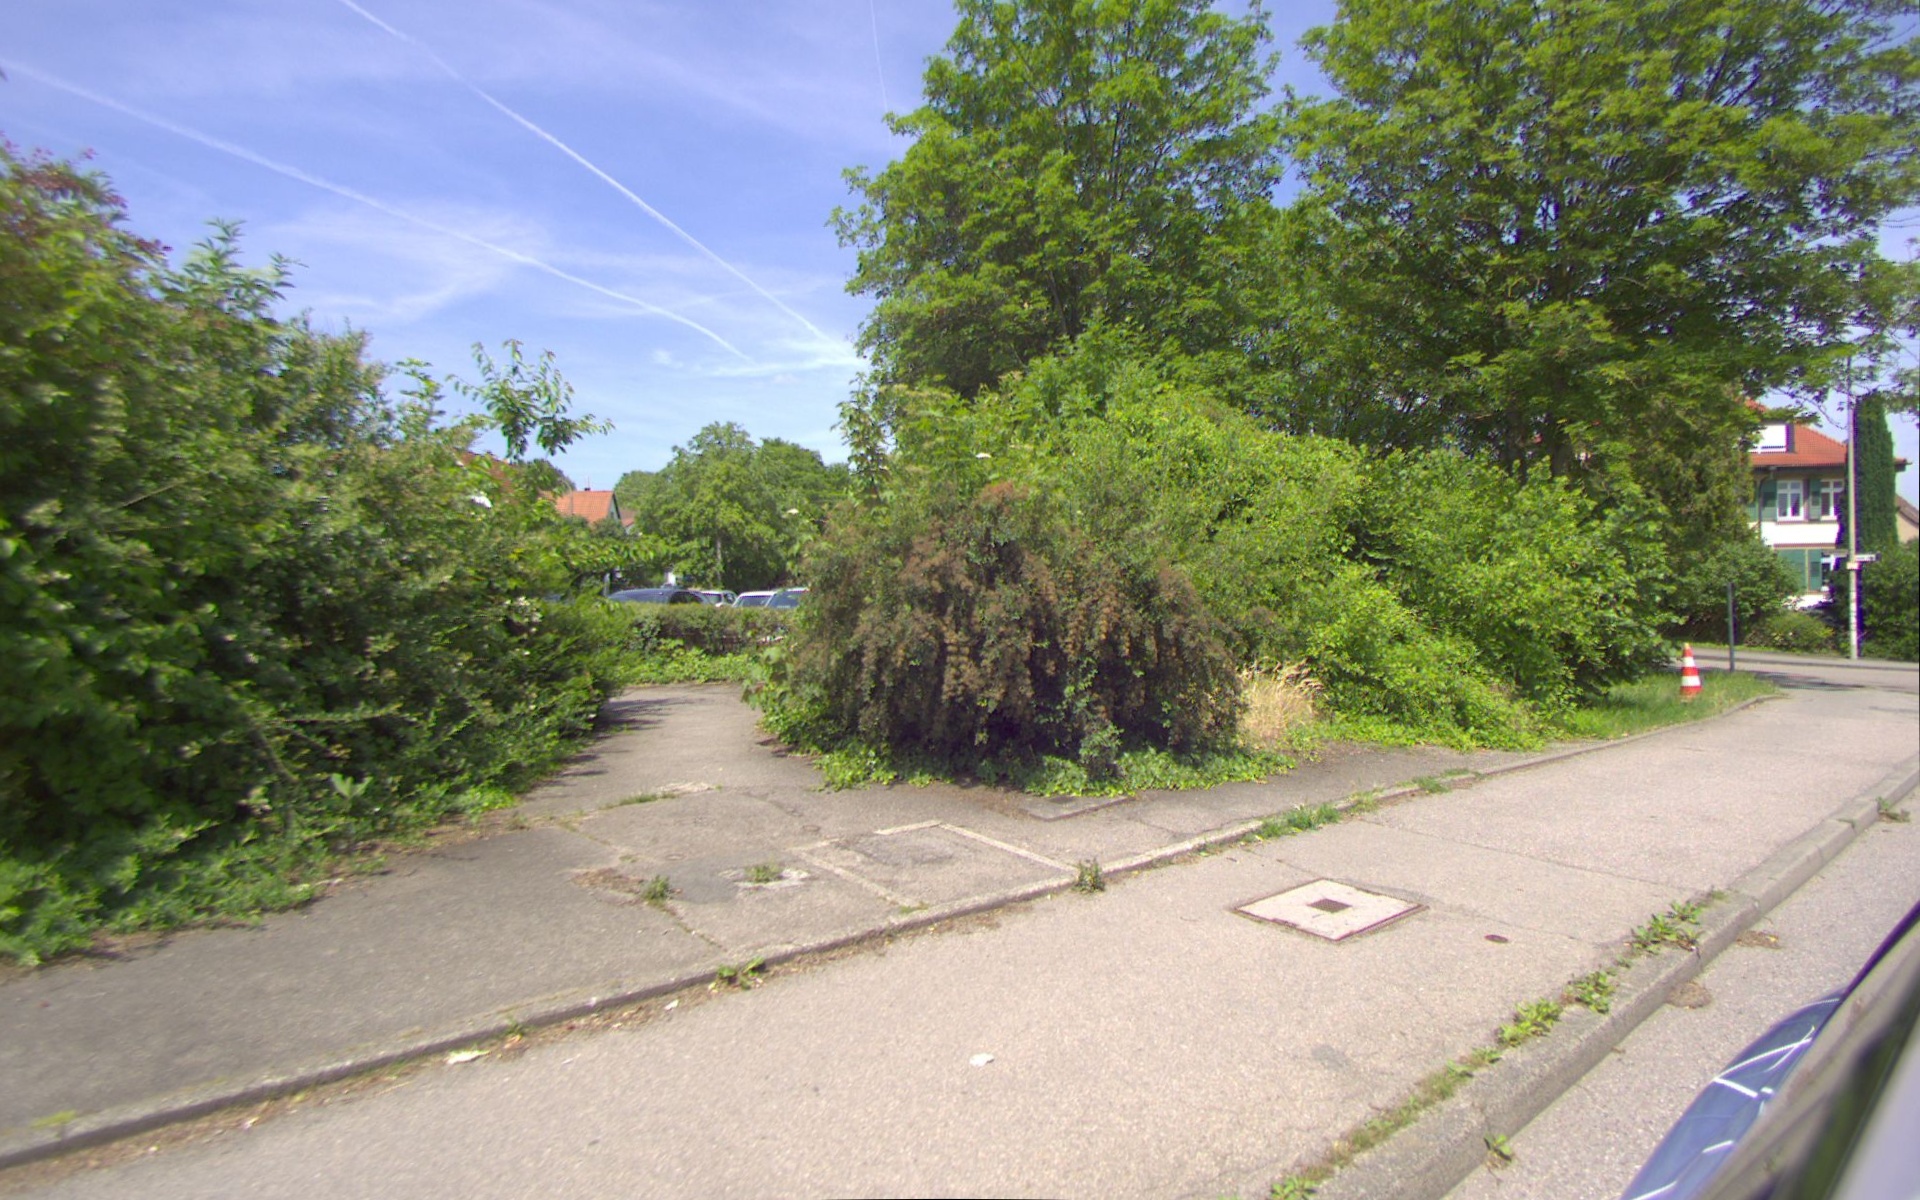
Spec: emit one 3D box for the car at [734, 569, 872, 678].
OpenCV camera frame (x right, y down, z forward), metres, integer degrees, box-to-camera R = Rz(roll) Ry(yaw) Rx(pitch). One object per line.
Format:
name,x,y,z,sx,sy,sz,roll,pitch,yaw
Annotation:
car,-2.677,0.358,18.134,1.961,1.739,4.001,0,1,-1
